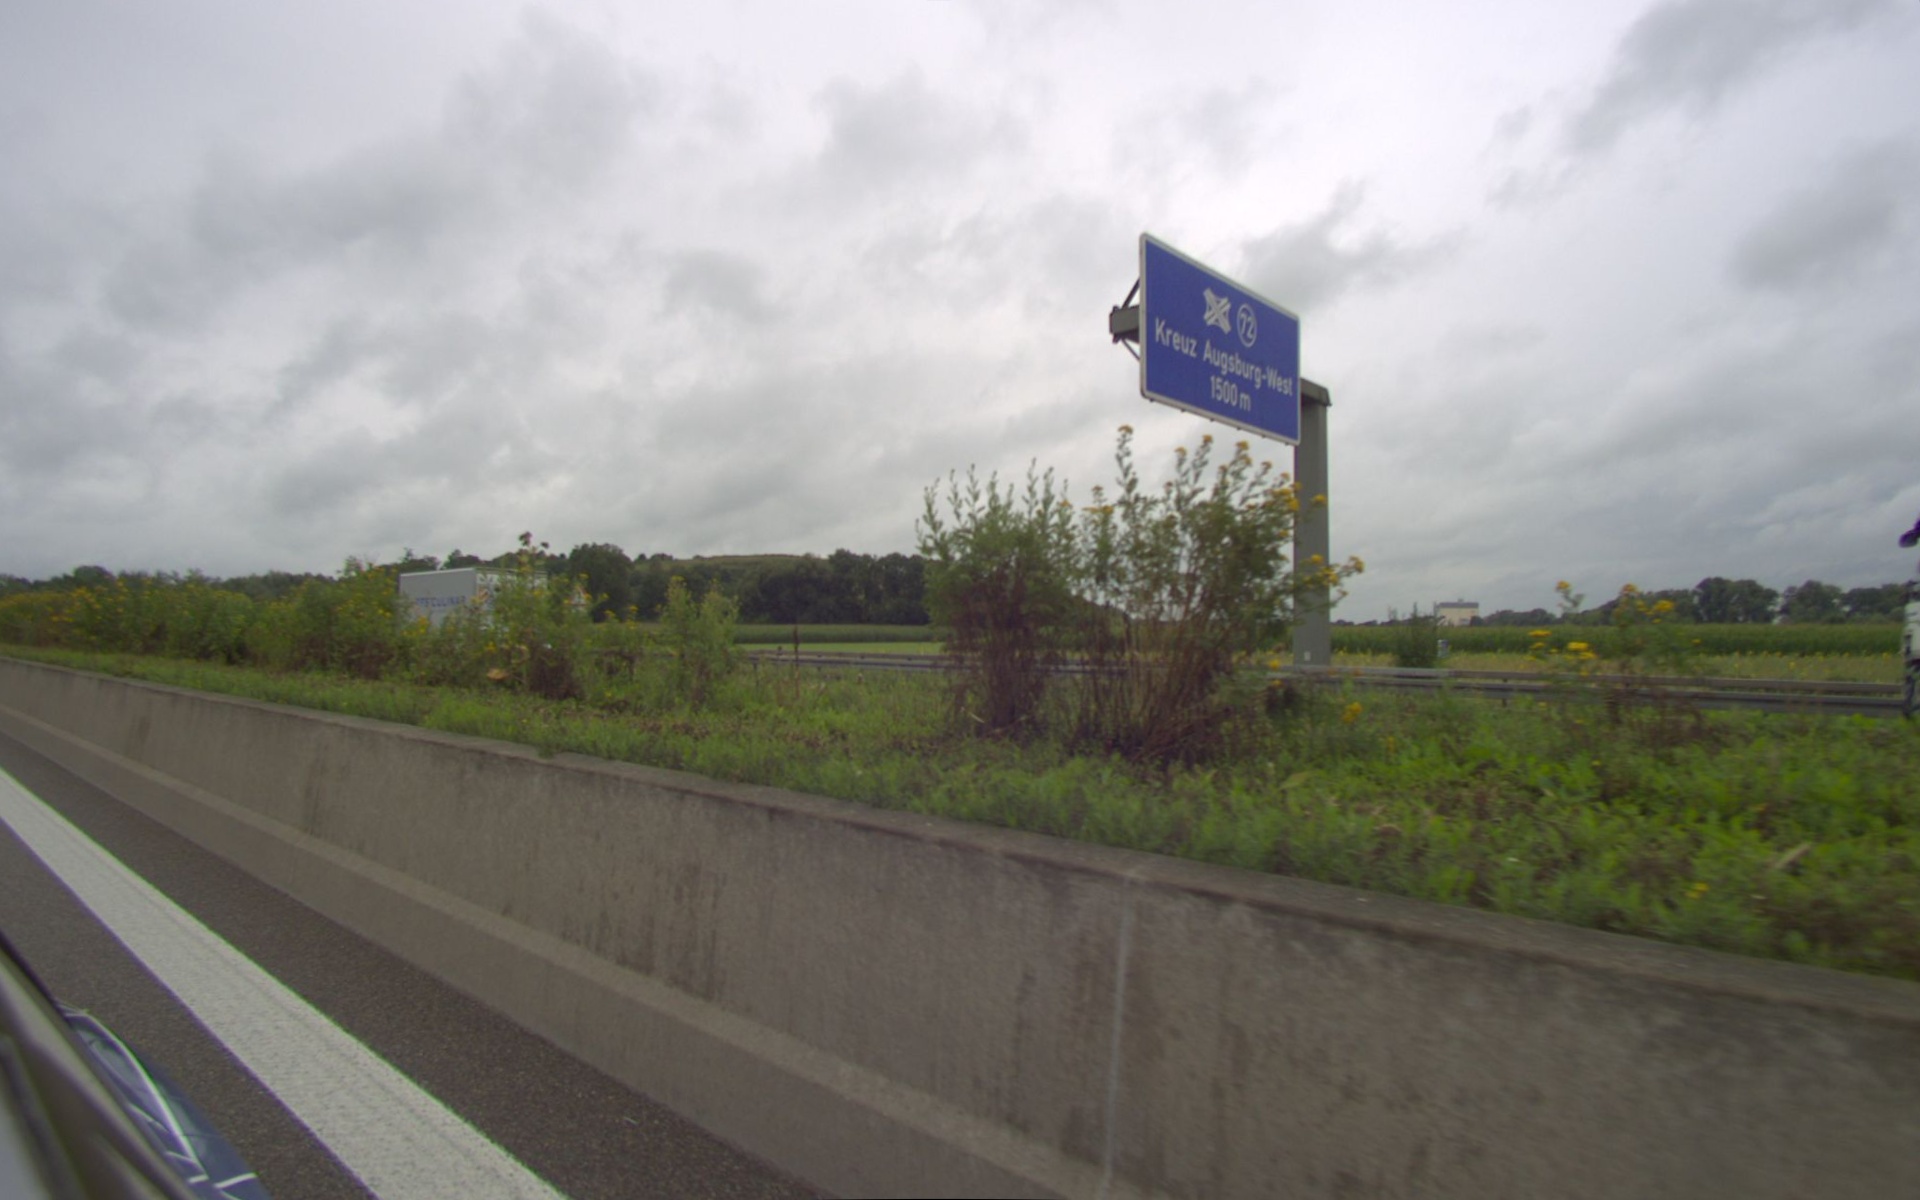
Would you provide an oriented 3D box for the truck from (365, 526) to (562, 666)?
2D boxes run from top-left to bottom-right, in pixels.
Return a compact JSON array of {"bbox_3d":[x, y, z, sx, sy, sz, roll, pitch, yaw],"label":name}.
[{"bbox_3d":[-18.935,-0.095,38.231,9.669,4.684,3.192,-1,0,41],"label":"truck"}]

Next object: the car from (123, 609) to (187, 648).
[{"bbox_3d":[-56.389,1.947,70.841,6.902,2.549,2.222,-1,0,41],"label":"car"}]

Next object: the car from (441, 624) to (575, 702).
[{"bbox_3d":[-12.233,1.632,27.281,4.094,1.919,1.735,-1,-1,41],"label":"car"}]
